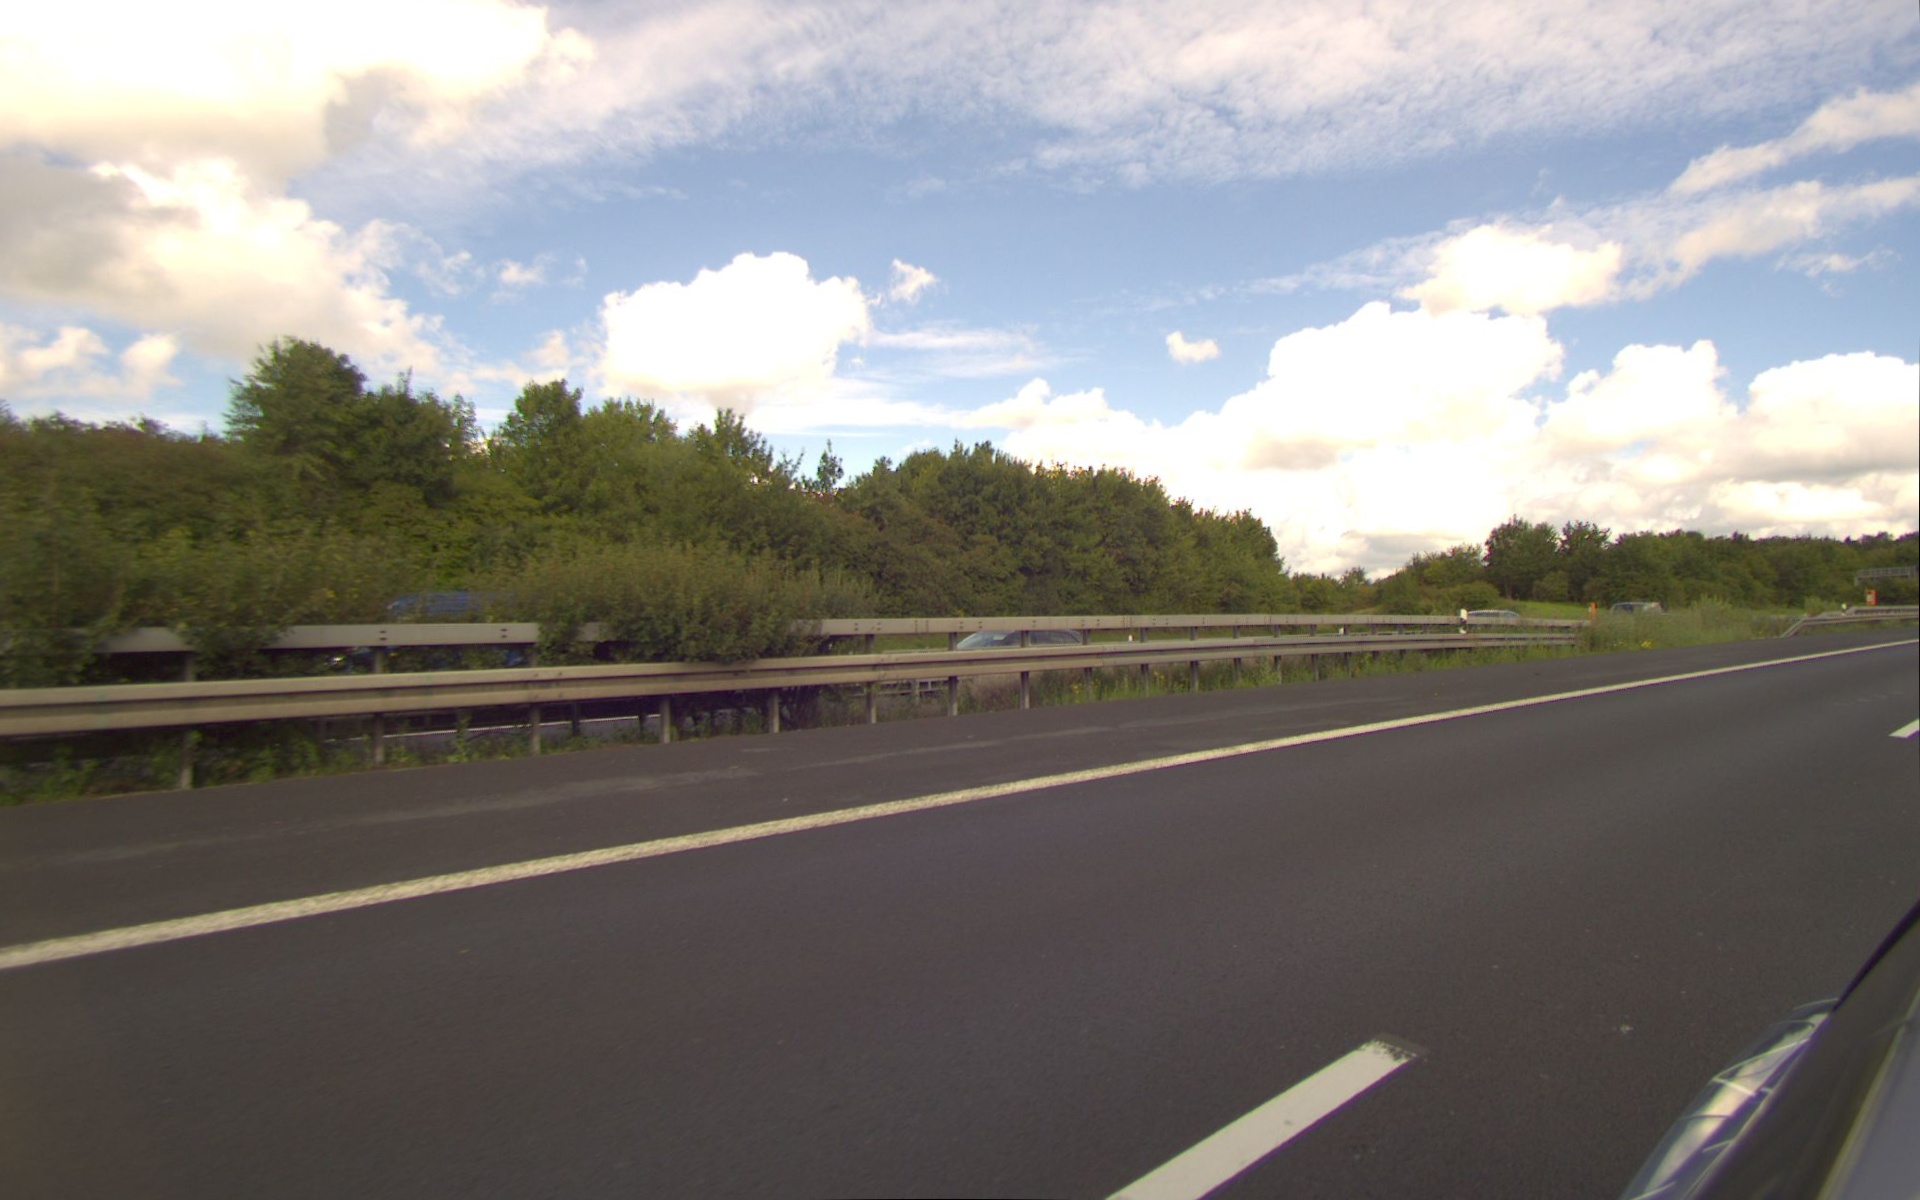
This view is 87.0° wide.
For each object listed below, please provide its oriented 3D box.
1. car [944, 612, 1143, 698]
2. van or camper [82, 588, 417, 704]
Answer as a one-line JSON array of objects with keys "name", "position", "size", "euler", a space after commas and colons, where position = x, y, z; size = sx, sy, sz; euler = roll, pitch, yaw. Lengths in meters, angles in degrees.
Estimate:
[{"name": "car", "position": [1.860, 1.100, 21.817], "size": [4.267, 1.591, 1.787], "euler": [0, 0, -40]}, {"name": "van or camper", "position": [-15.326, 0.866, 22.156], "size": [2.189, 2.207, 5.690], "euler": [-1, 0, 42]}]
